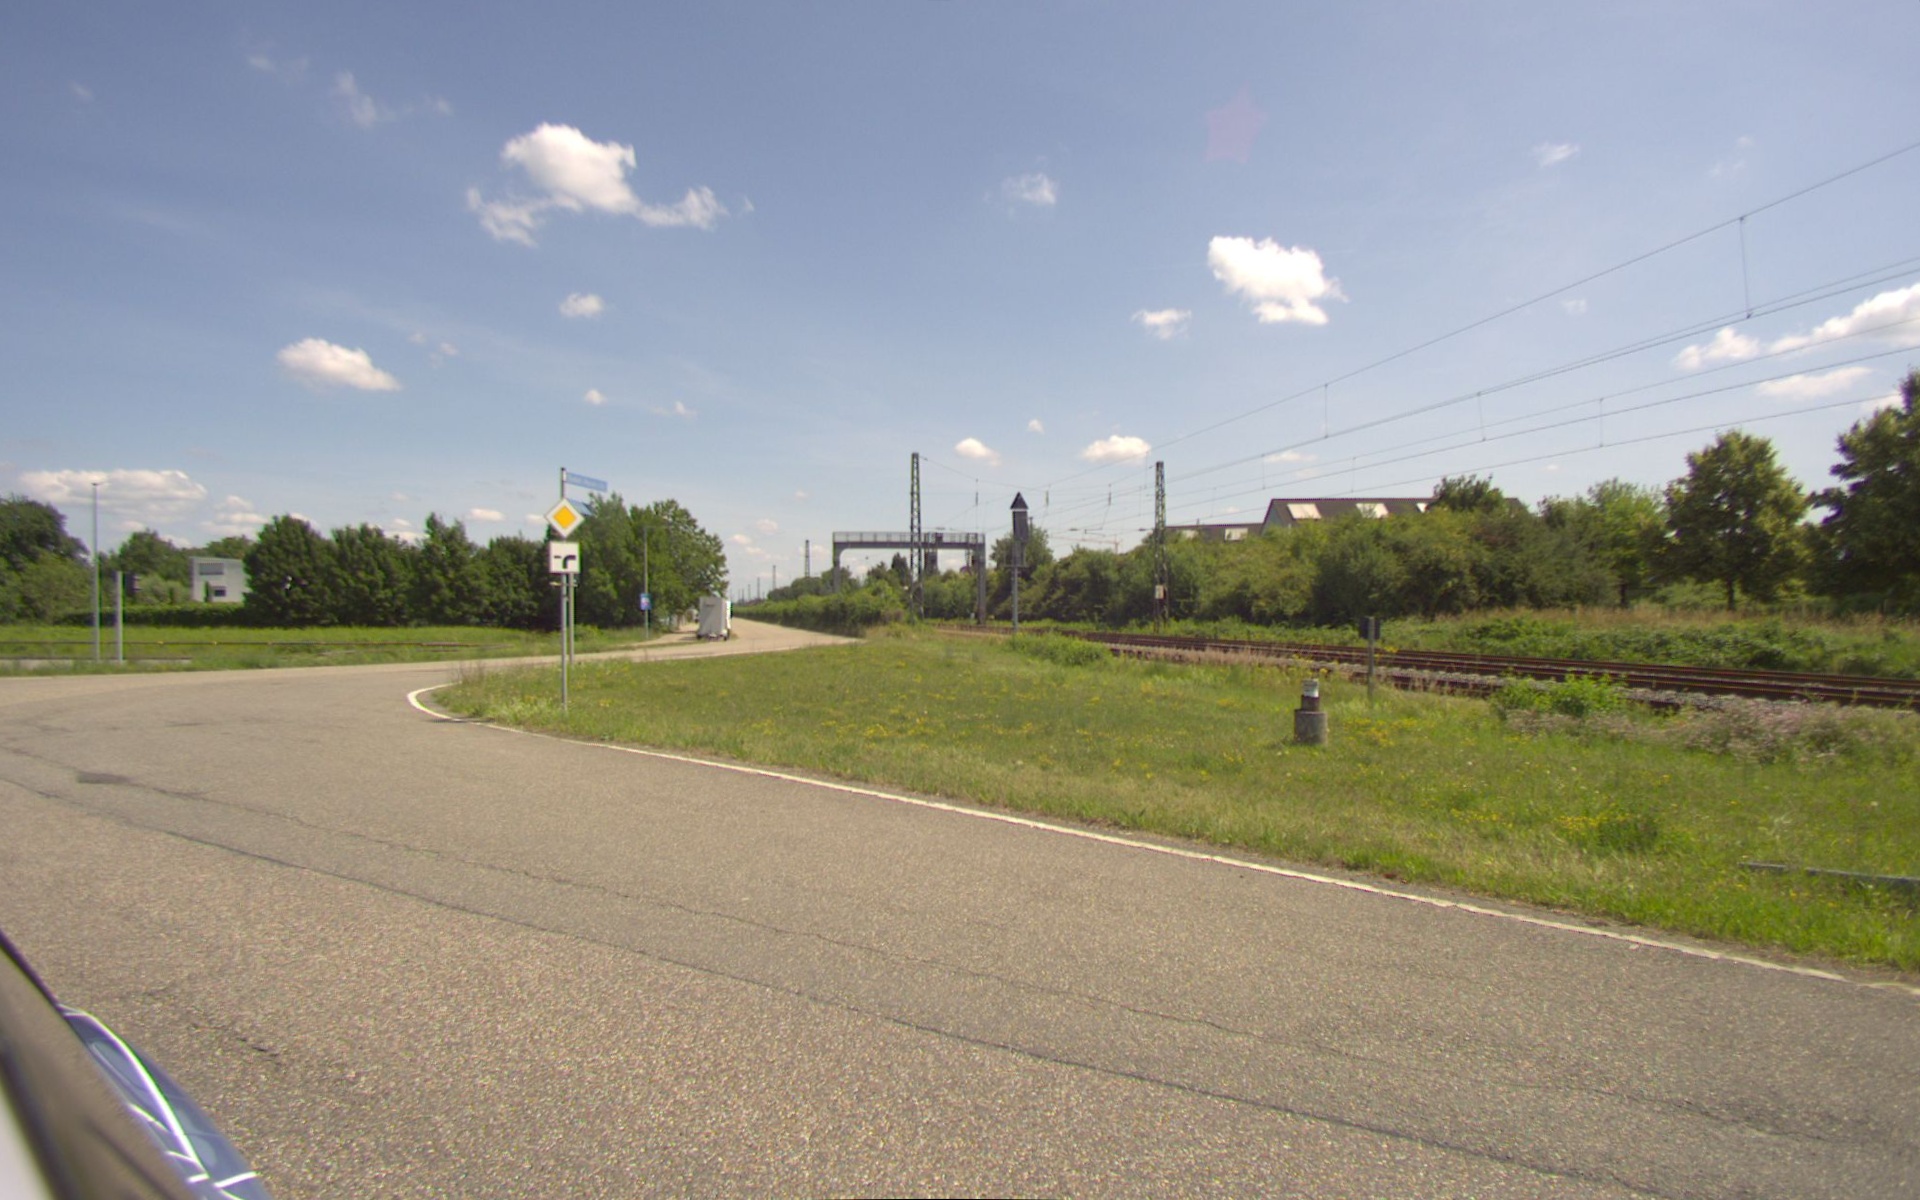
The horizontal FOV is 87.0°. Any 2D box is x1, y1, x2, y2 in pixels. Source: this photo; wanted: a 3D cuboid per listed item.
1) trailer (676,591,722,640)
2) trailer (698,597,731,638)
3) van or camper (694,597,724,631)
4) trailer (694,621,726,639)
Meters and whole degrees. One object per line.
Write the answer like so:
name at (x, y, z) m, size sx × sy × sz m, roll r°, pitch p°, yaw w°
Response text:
trailer at (-15.046, 0.895, 58.676) m, size 1.908 × 2.664 × 5.192 m, roll 2°, pitch -1°, yaw -8°
trailer at (-15.984, 1.133, 65.989) m, size 1.893 × 2.527 × 4.753 m, roll 2°, pitch -1°, yaw -13°
van or camper at (-22.197, 1.227, 89.591) m, size 2.406 × 2.848 × 7.643 m, roll 1°, pitch -1°, yaw -14°
trailer at (-17.687, 2.108, 71.764) m, size 1.978 × 1.131 × 4.499 m, roll 2°, pitch -1°, yaw -11°
